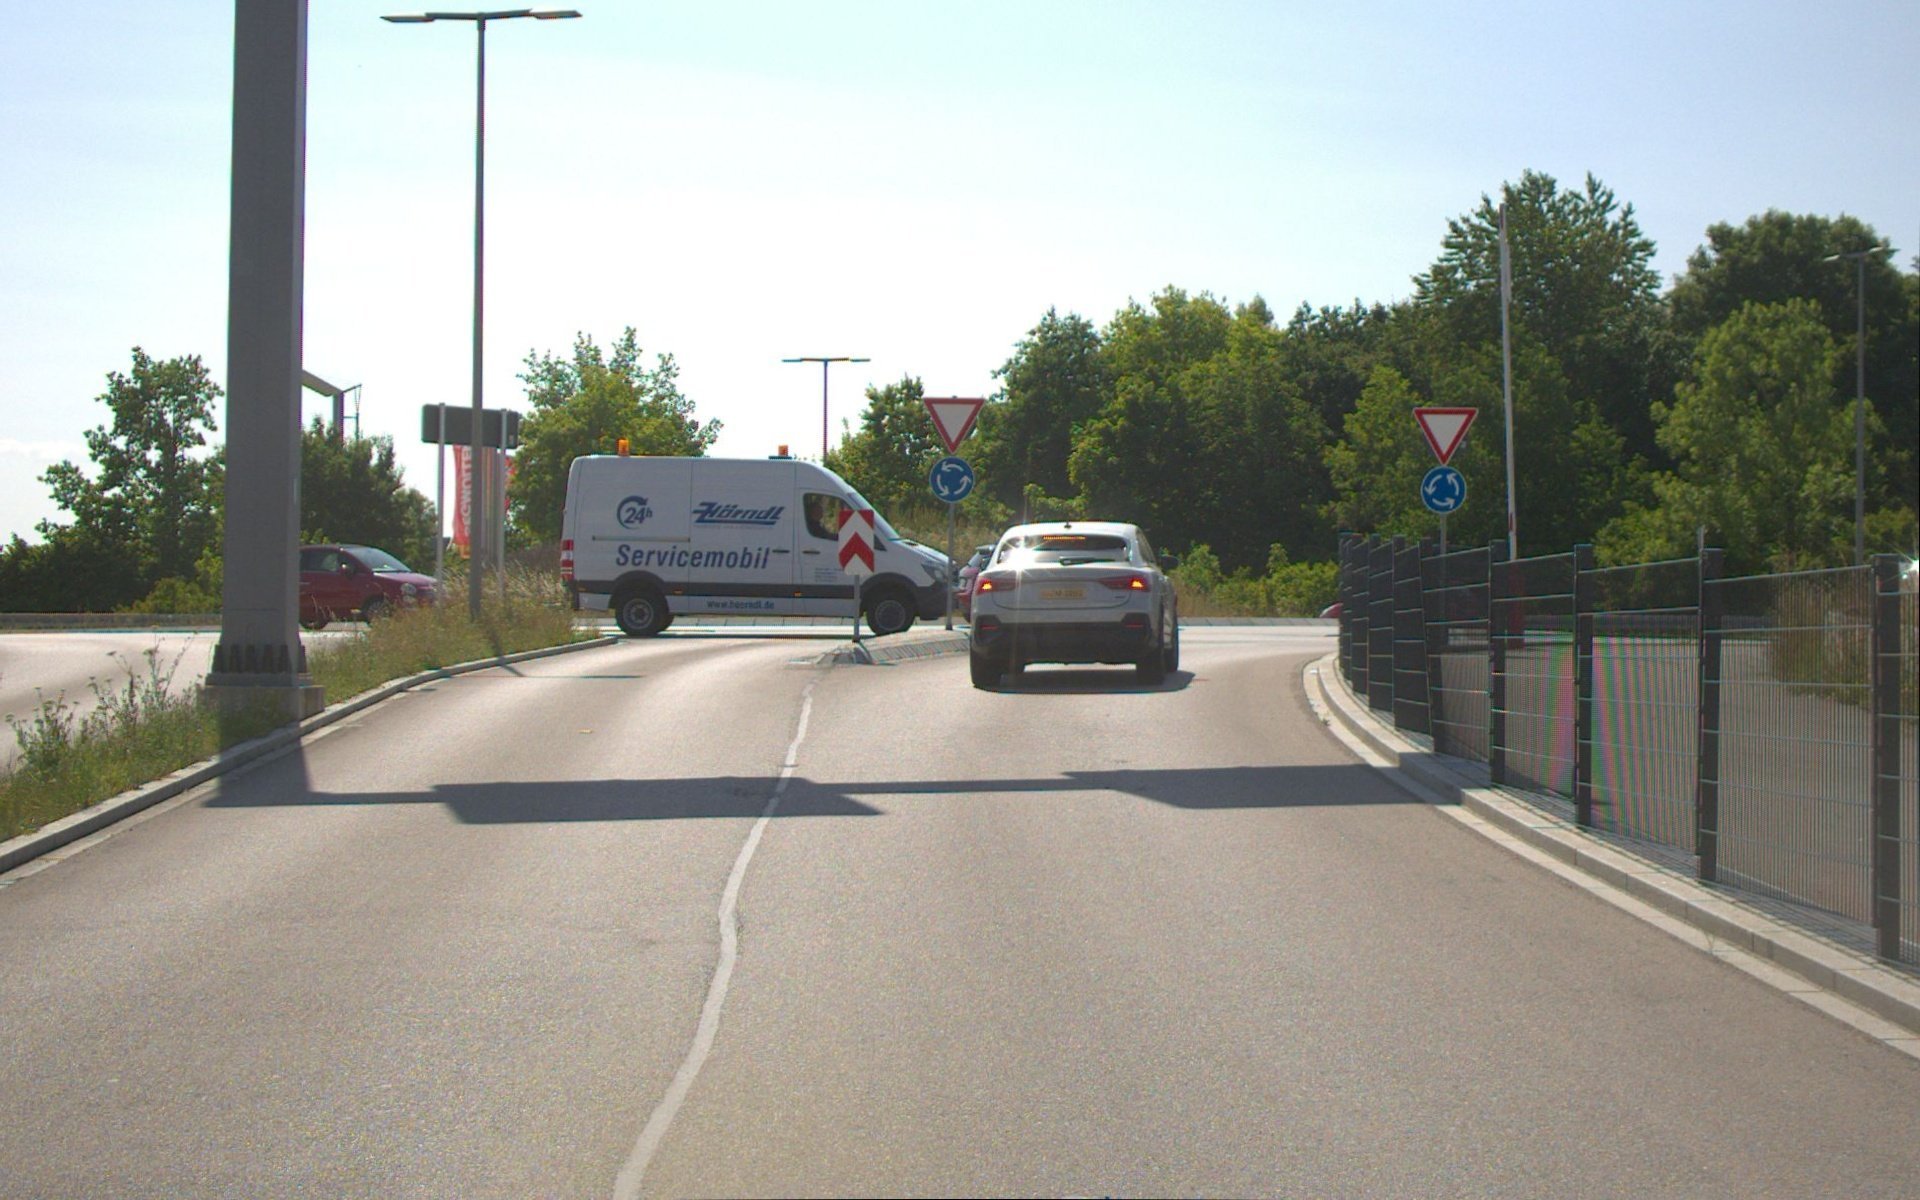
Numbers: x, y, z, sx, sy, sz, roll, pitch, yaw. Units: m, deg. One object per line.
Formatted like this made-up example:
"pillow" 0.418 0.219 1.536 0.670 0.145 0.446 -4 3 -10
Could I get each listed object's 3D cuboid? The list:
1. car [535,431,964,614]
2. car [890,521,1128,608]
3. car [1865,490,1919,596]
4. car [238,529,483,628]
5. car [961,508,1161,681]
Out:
"car" -3.071 -1.142 51.127 6.173 2.545 2.090 1 0 1
"car" 0.822 -0.603 58.964 3.804 1.400 1.627 1 0 -11
"car" 17.123 -0.888 56.598 3.844 1.711 2.000 1 0 -3
"car" -10.369 -0.372 59.450 3.727 1.612 1.871 1 0 23
"car" 1.013 -0.073 33.939 1.841 1.590 4.325 0 0 2
